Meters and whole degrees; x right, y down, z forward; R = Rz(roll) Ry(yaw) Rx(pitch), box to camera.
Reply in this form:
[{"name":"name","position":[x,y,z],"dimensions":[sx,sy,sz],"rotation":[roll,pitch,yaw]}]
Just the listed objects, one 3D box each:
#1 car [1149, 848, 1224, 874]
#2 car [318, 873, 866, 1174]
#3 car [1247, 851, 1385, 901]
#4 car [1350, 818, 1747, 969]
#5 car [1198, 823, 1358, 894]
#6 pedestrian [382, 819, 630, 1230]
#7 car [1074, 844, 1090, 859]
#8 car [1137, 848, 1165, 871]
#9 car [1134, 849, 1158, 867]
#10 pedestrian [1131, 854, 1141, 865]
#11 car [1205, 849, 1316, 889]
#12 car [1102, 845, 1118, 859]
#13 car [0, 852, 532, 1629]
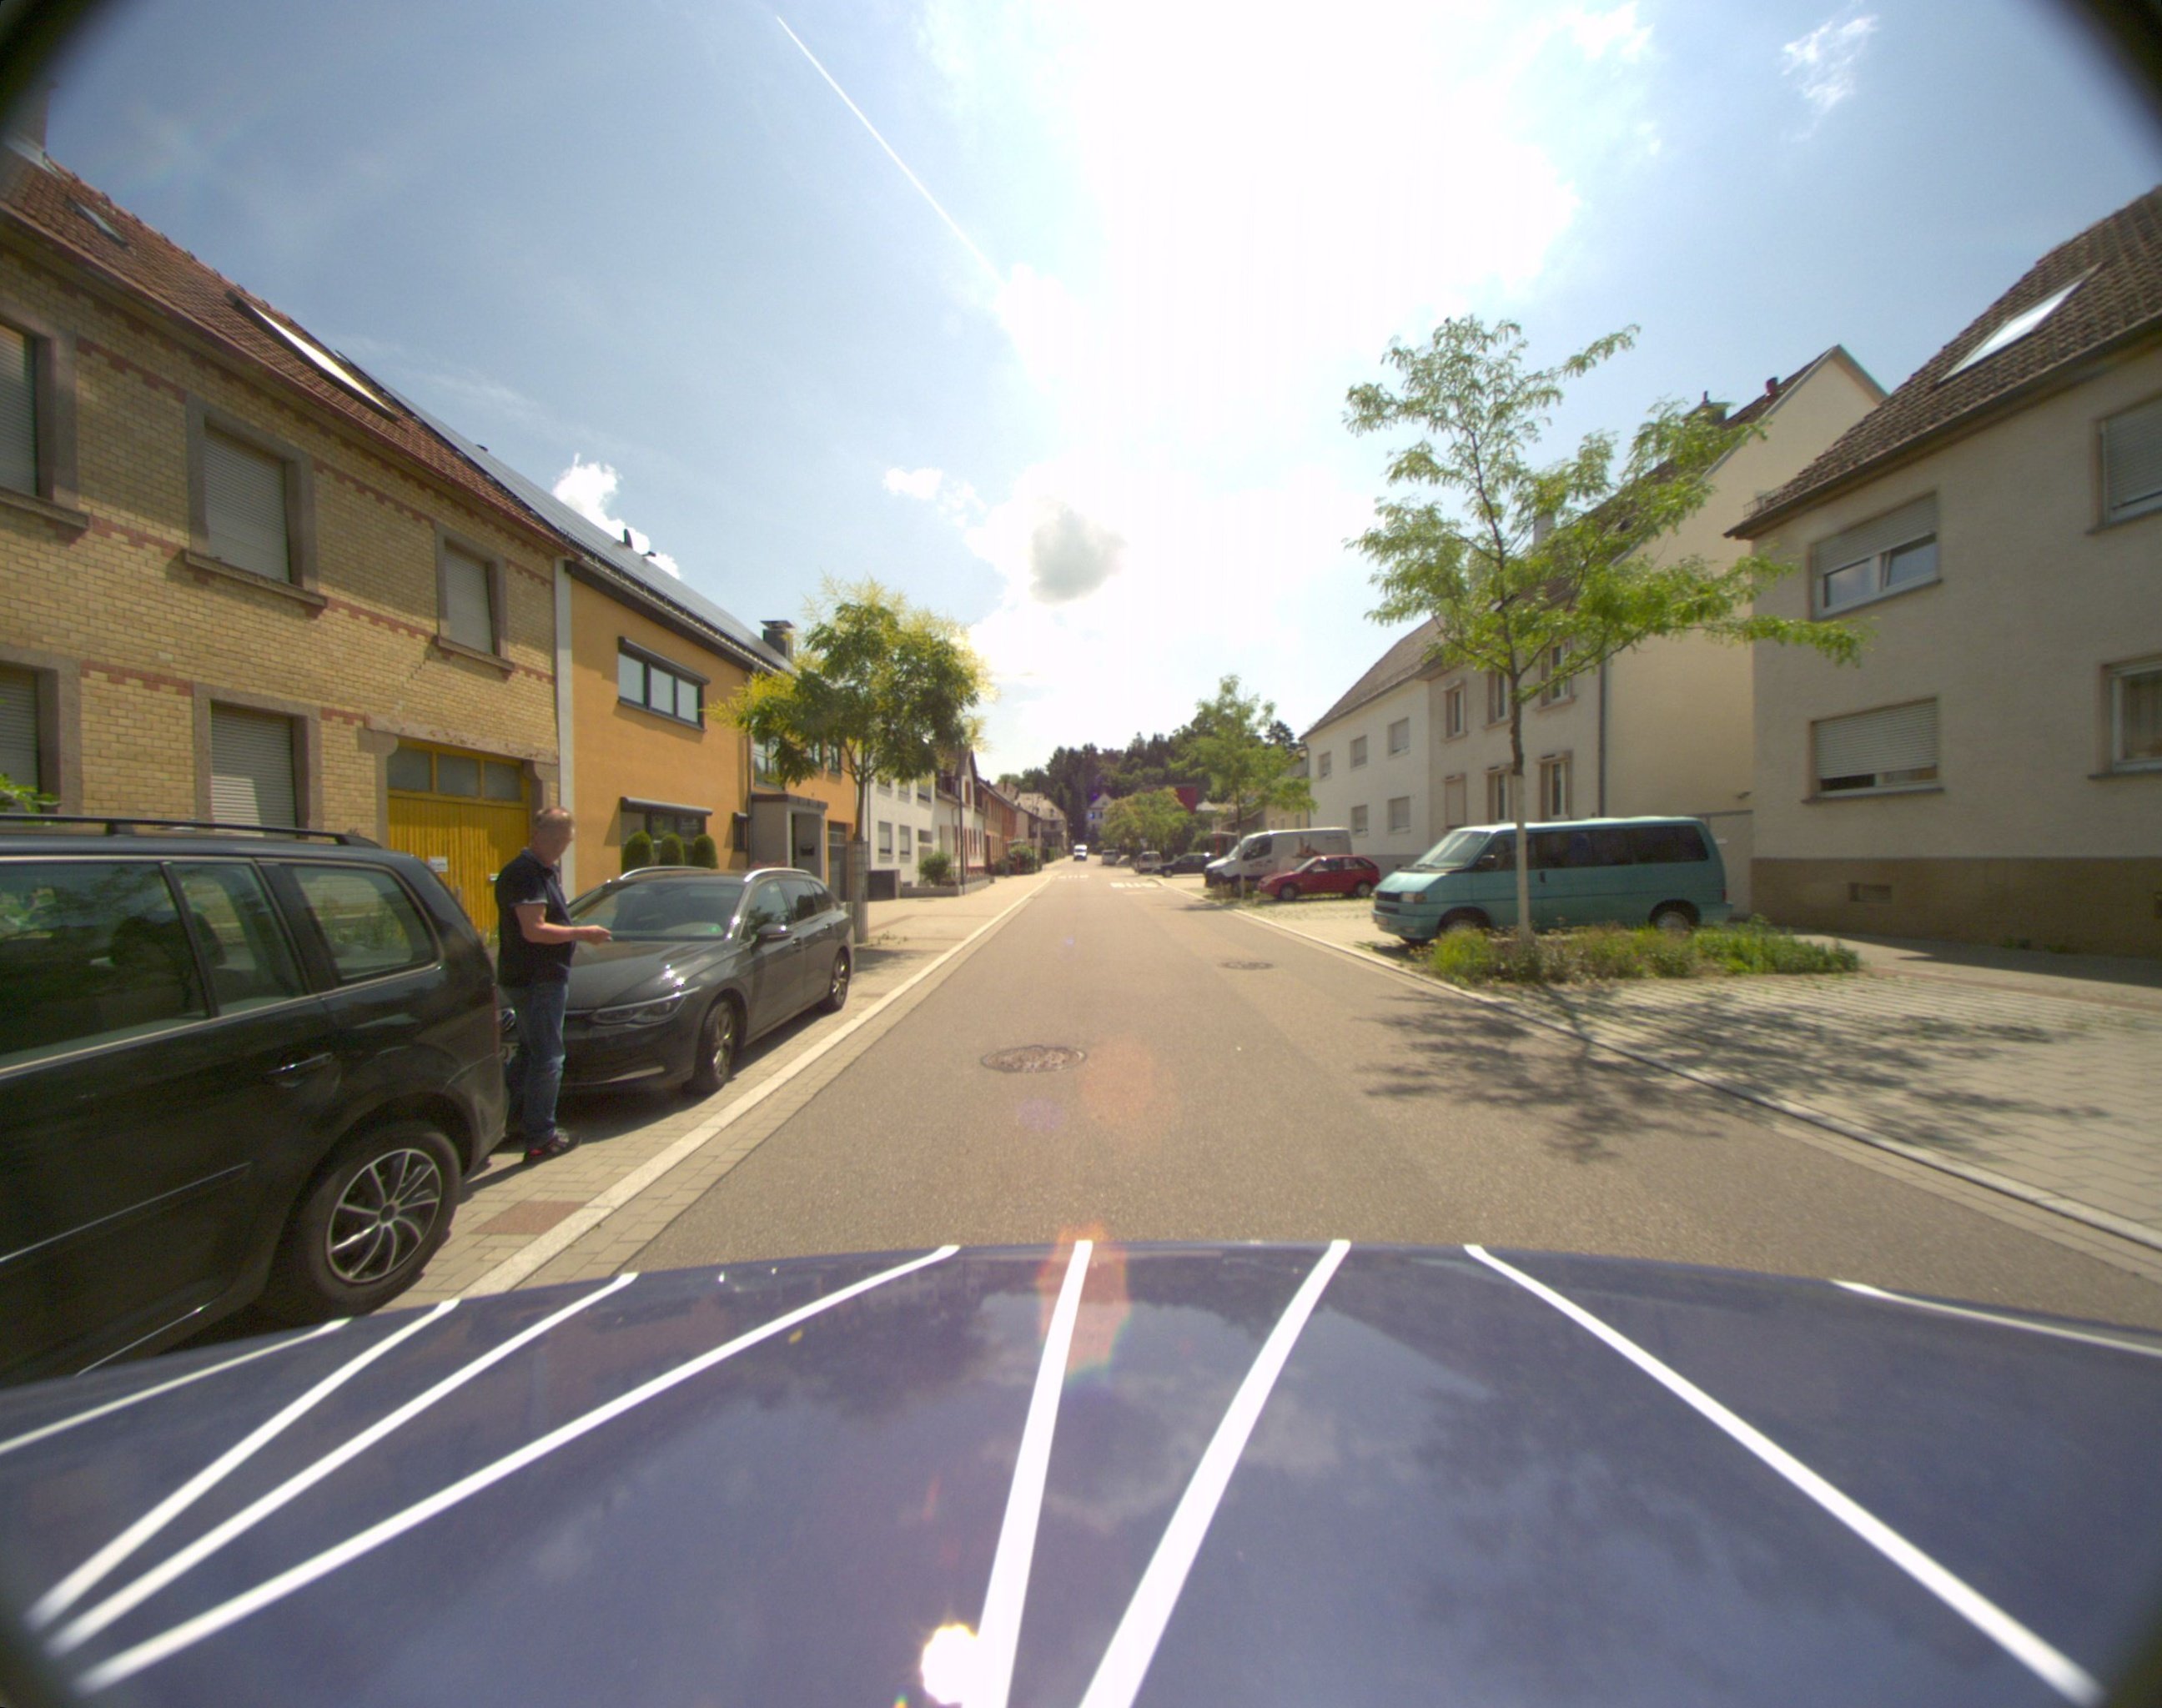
[{"name":"car","position":[6.851,0.429,49.538],"dimensions":[4.598,1.508,1.901],"rotation":[-2,0,0]},{"name":"car","position":[-3.245,0.968,6.264],"dimensions":[1.771,1.480,4.295],"rotation":[-1,0,-1]},{"name":"car","position":[7.350,0.672,24.040],"dimensions":[3.792,1.377,1.725],"rotation":[-2,1,1]},{"name":"car","position":[6.769,0.536,11.429],"dimensions":[4.688,1.896,2.000],"rotation":[-2,1,1]},{"name":"car","position":[7.101,0.147,27.761],"dimensions":[5.180,2.275,2.157],"rotation":[-2,1,-2]},{"name":"pedestrian","position":[-2.757,0.770,3.706],"dimensions":[0.718,1.842,0.578],"rotation":[-1,1,1]},{"name":"car","position":[0.209,-0.419,124.286],"dimensions":[2.489,2.306,5.599],"rotation":[-2,1,0]},{"name":"car","position":[5.618,0.445,61.458],"dimensions":[1.844,1.737,4.687],"rotation":[-2,-1,2]},{"name":"car","position":[5.751,0.377,67.404],"dimensions":[1.727,1.515,3.909],"rotation":[-2,-1,-1]},{"name":"pedestrian","position":[5.786,0.565,80.017],"dimensions":[0.816,1.135,0.885],"rotation":[-2,1,-4]},{"name":"car","position":[7.183,0.581,30.704],"dimensions":[3.998,1.437,1.901],"rotation":[-1,0,-2]},{"name":"car","position":[4.064,-0.309,105.624],"dimensions":[1.999,1.968,3.999],"rotation":[-1,1,0]},{"name":"car","position":[-3.269,0.863,1.070],"dimensions":[1.771,1.695,4.325],"rotation":[-1,0,1]}]
